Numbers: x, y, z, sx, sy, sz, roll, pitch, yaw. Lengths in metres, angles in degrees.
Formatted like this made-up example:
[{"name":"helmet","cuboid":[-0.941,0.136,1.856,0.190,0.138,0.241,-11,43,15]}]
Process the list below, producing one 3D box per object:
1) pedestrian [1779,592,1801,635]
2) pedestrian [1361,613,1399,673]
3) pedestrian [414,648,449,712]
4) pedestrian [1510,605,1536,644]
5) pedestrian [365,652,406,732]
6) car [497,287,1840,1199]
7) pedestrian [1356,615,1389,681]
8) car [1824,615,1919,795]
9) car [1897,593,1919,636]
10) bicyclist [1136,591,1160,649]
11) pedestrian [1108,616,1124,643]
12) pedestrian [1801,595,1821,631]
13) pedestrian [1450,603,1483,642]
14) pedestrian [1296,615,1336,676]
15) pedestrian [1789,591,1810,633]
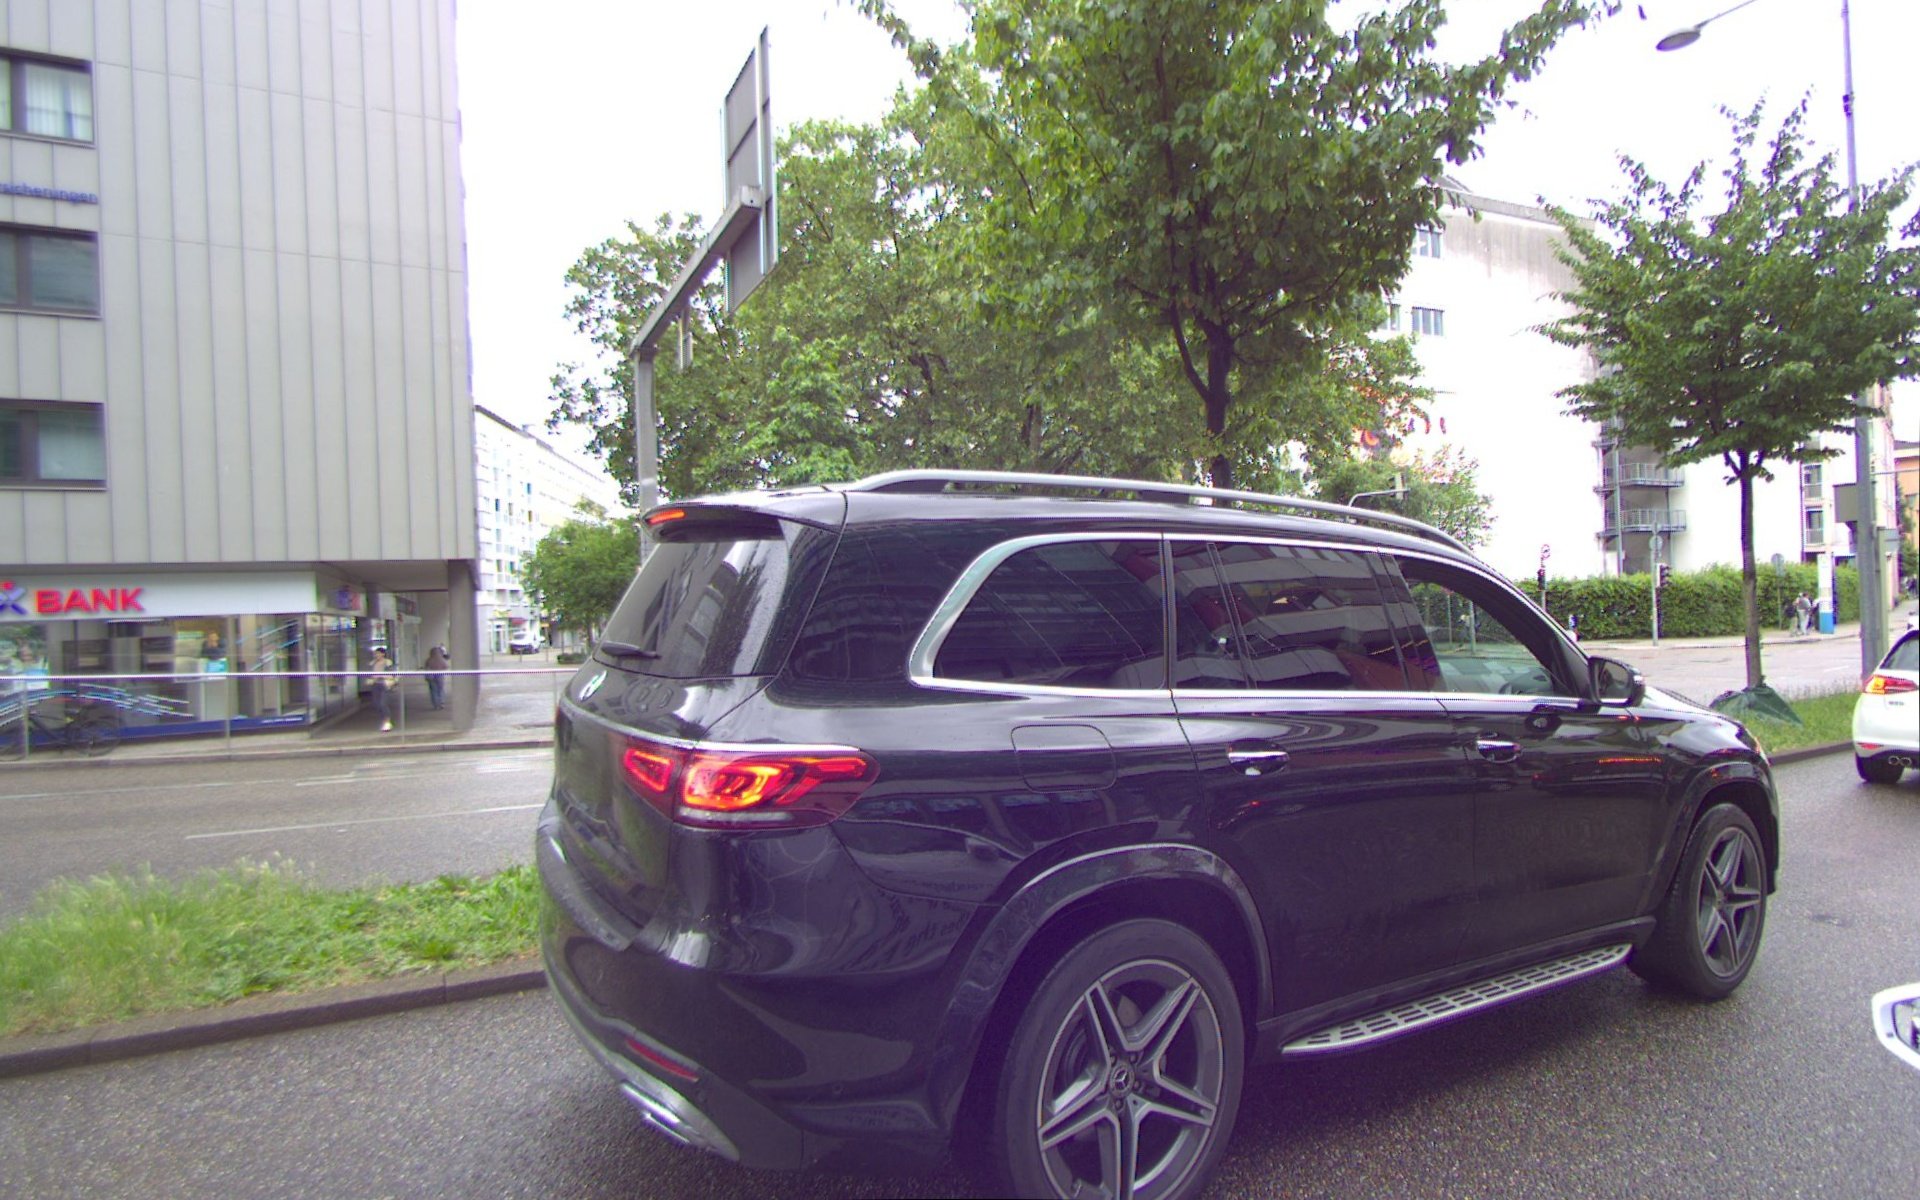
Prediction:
[{"name":"pedestrian","cuboid":[34.841,0.560,42.174,0.741,1.771,0.535,2,-1,-38]},{"name":"pedestrian","cuboid":[12.023,1.220,28.732,0.620,1.684,0.749,-2,0,-30]},{"name":"pedestrian","cuboid":[-14.697,2.204,27.921,0.719,1.719,0.782,2,-3,-37]},{"name":"pedestrian","cuboid":[24.022,1.040,42.848,0.633,1.664,0.726,2,-1,-37]},{"name":"pedestrian","cuboid":[-12.491,1.989,21.827,0.630,1.659,0.782,2,-1,-37]},{"name":"car","cuboid":[1.125,0.515,3.801,5.016,1.895,1.901,3,-1,-31]},{"name":"pedestrian","cuboid":[10.836,1.254,26.383,0.572,1.684,0.554,-2,0,-30]},{"name":"car","cuboid":[9.520,0.871,8.953,3.800,1.448,1.767,0,0,-33]},{"name":"car","cuboid":[34.964,0.503,35.739,3.571,1.506,1.565,0,1,-33]},{"name":"bicyclist","cuboid":[5.130,0.558,27.376,0.597,1.550,0.634,0,-2,7]},{"name":"pedestrian","cuboid":[9.810,1.827,63.030,0.723,1.664,0.635,2,-1,-23]},{"name":"pedestrian","cuboid":[39.055,0.607,46.098,0.522,1.620,0.576,2,-1,-36]},{"name":"pedestrian","cuboid":[21.770,0.967,43.198,0.677,1.599,1.055,2,-1,-34]},{"name":"pedestrian","cuboid":[10.865,1.391,30.670,0.698,1.807,0.922,2,-1,-19]},{"name":"pedestrian","cuboid":[36.025,0.512,43.115,0.559,1.771,0.535,2,-1,-35]}]
